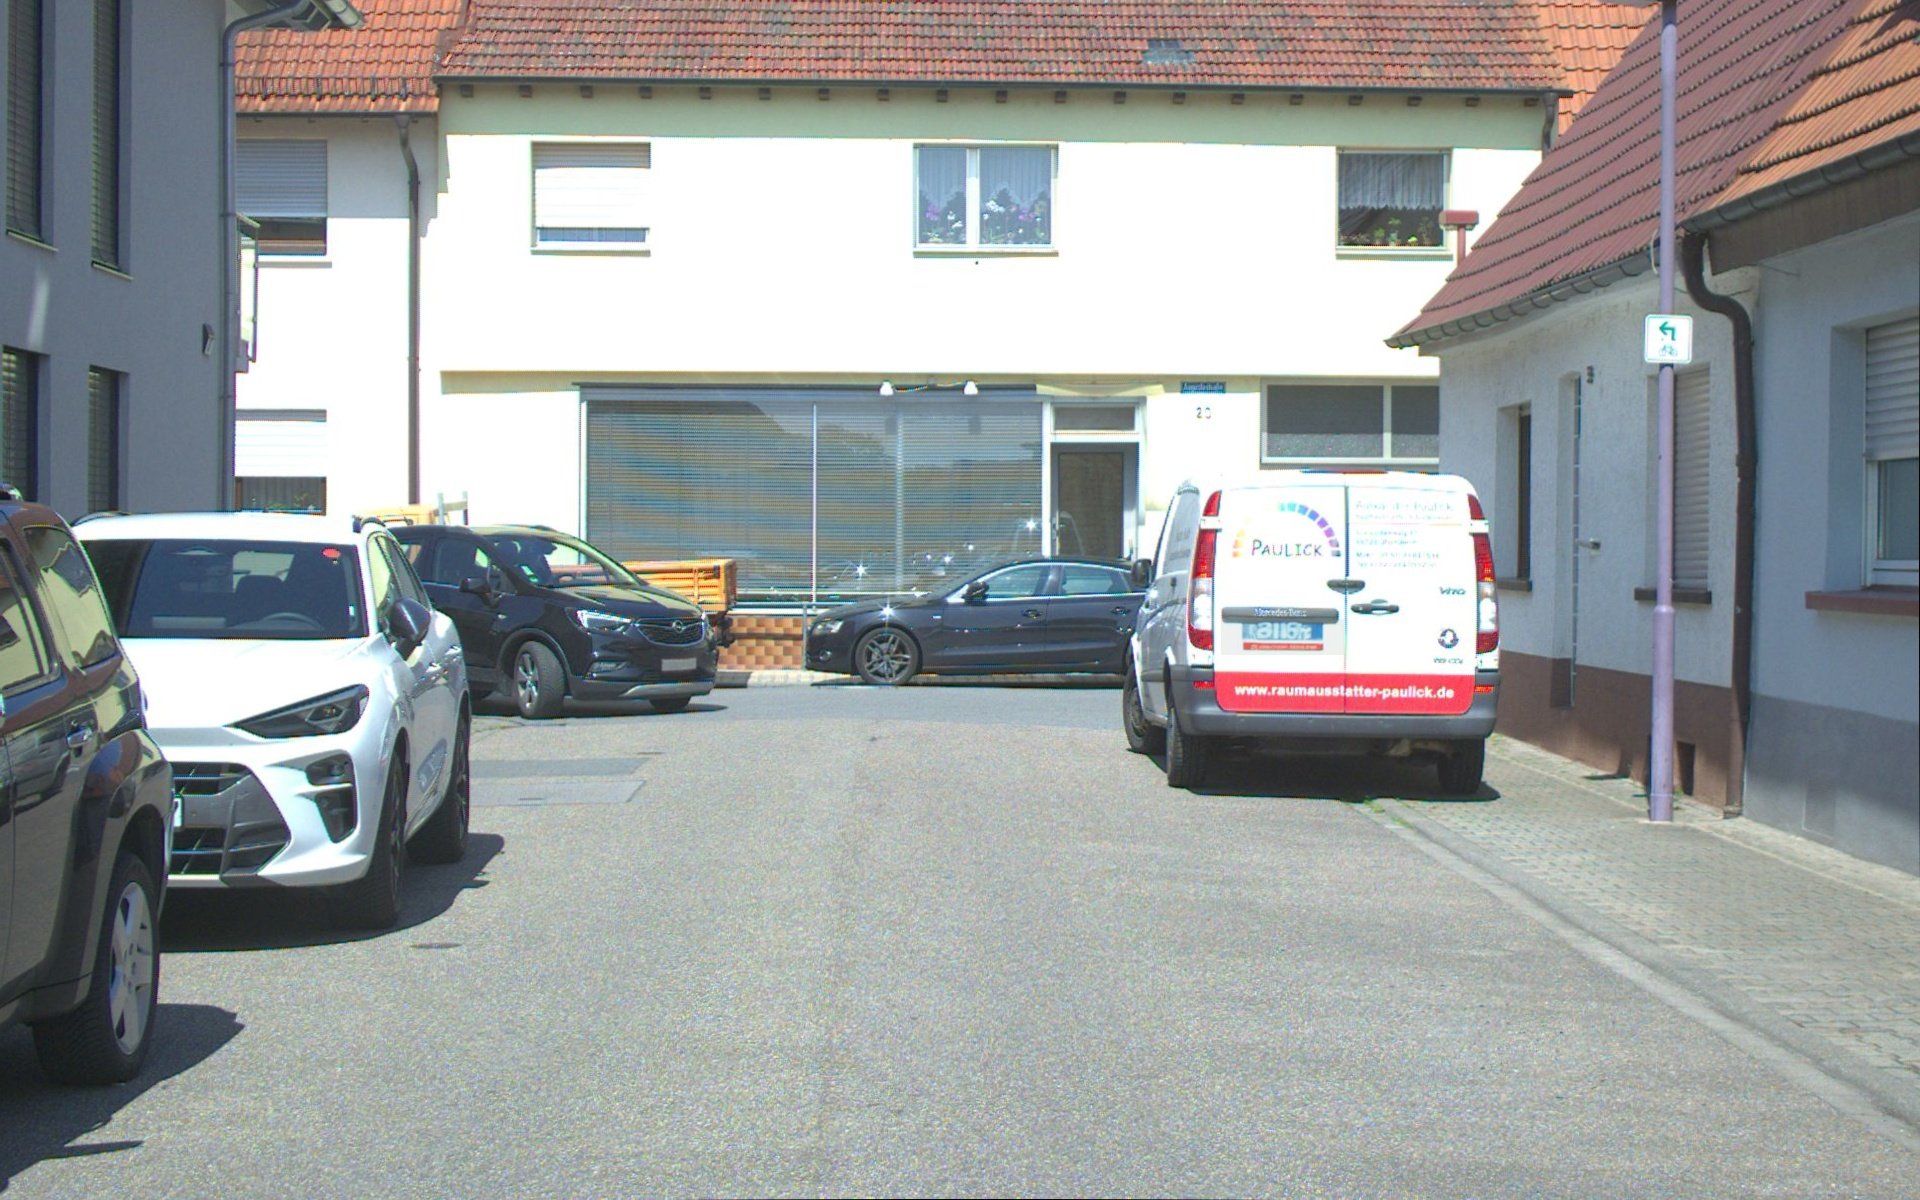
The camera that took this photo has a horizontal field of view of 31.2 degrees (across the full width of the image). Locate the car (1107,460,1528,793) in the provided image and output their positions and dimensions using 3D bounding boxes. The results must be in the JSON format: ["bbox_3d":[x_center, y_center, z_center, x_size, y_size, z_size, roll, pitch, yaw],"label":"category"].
[{"bbox_3d":[2.130,0.105,22.026,2.012,1.832,5.266,1,1,-1],"label":"car"}]

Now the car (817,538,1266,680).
[{"bbox_3d":[0.803,0.120,36.343,4.616,1.389,1.928,1,-2,-2],"label":"car"}]

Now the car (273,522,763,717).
[{"bbox_3d":[-3.935,0.139,30.261,4.276,1.577,1.758,0,2,38],"label":"car"}]

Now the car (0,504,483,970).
[{"bbox_3d":[-3.045,0.445,14.189,1.774,1.610,4.350,-1,1,-3],"label":"car"}]

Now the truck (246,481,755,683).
[{"bbox_3d":[-4.753,-0.191,36.182,5.063,2.007,2.190,1,0,-1],"label":"truck"}]

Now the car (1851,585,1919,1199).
[{"bbox_3d":[2.535,0.759,3.486,1.838,1.443,4.777,1,1,-2],"label":"car"}]

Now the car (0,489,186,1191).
[{"bbox_3d":[-3.073,0.564,7.719,1.722,1.610,3.989,-1,1,0],"label":"car"}]
